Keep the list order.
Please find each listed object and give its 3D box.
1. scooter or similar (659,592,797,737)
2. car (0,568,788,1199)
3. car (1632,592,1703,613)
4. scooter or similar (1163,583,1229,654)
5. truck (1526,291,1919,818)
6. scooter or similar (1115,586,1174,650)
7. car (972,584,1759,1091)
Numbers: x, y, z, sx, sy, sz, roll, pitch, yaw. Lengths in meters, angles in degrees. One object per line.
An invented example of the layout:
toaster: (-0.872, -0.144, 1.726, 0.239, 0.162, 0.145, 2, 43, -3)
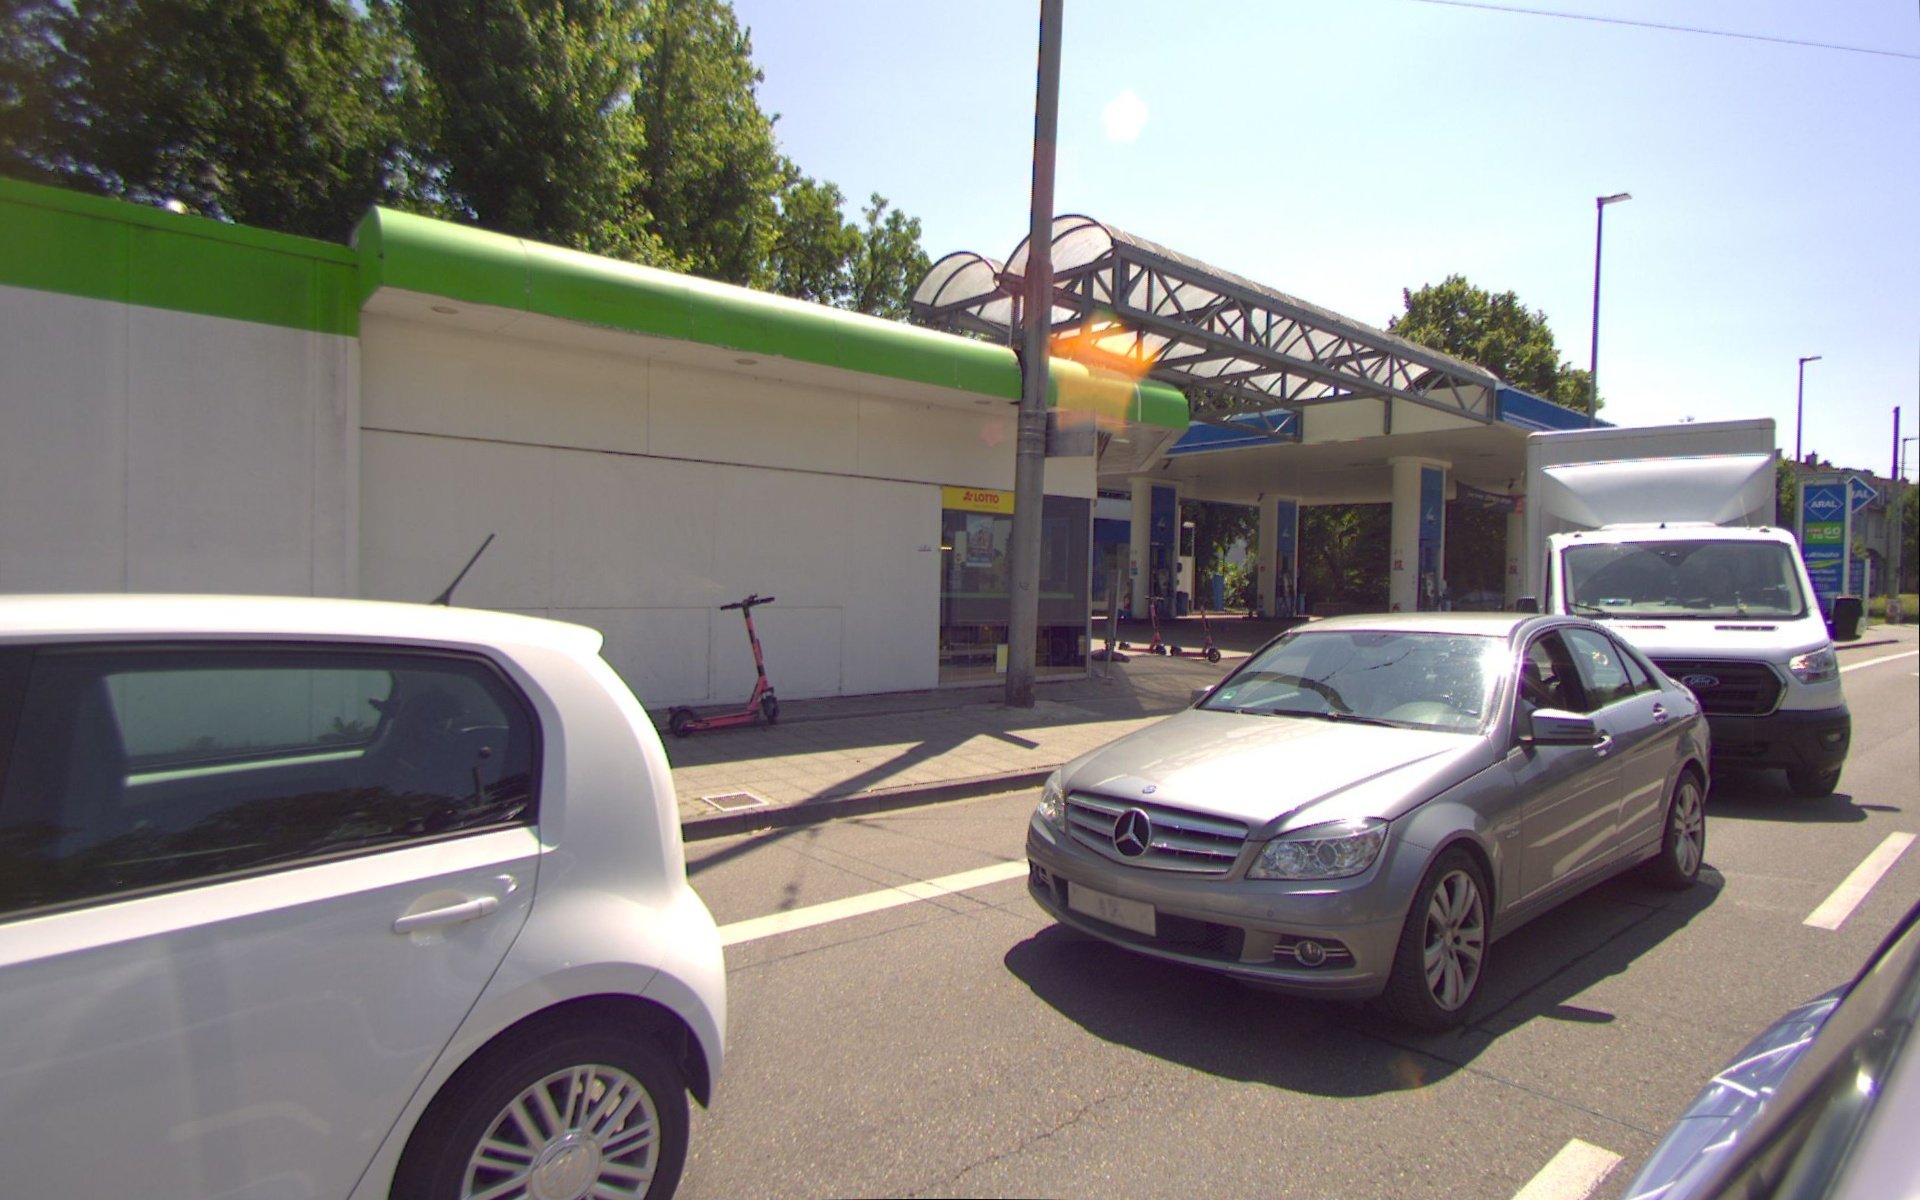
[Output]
scooter or similar: (-2.062, 0.542, 9.029, 1.117, 1.209, 0.384, 0, 4, -36)
car: (-2.240, 0.674, 1.853, 3.458, 1.469, 1.610, 0, 1, -40)
car: (56.650, 0.198, 81.129, 1.961, 1.540, 4.230, 0, 1, -32)
scooter or similar: (4.337, 0.324, 18.627, 0.404, 1.256, 1.176, 0, 1, -39)
truck: (7.289, -0.369, 10.498, 2.407, 3.433, 7.752, 1, 1, 29)
scooter or similar: (3.561, 0.331, 19.548, 0.377, 1.191, 1.138, 0, 1, -39)
car: (2.292, 0.683, 5.059, 4.339, 1.467, 1.800, 0, 1, -40)
